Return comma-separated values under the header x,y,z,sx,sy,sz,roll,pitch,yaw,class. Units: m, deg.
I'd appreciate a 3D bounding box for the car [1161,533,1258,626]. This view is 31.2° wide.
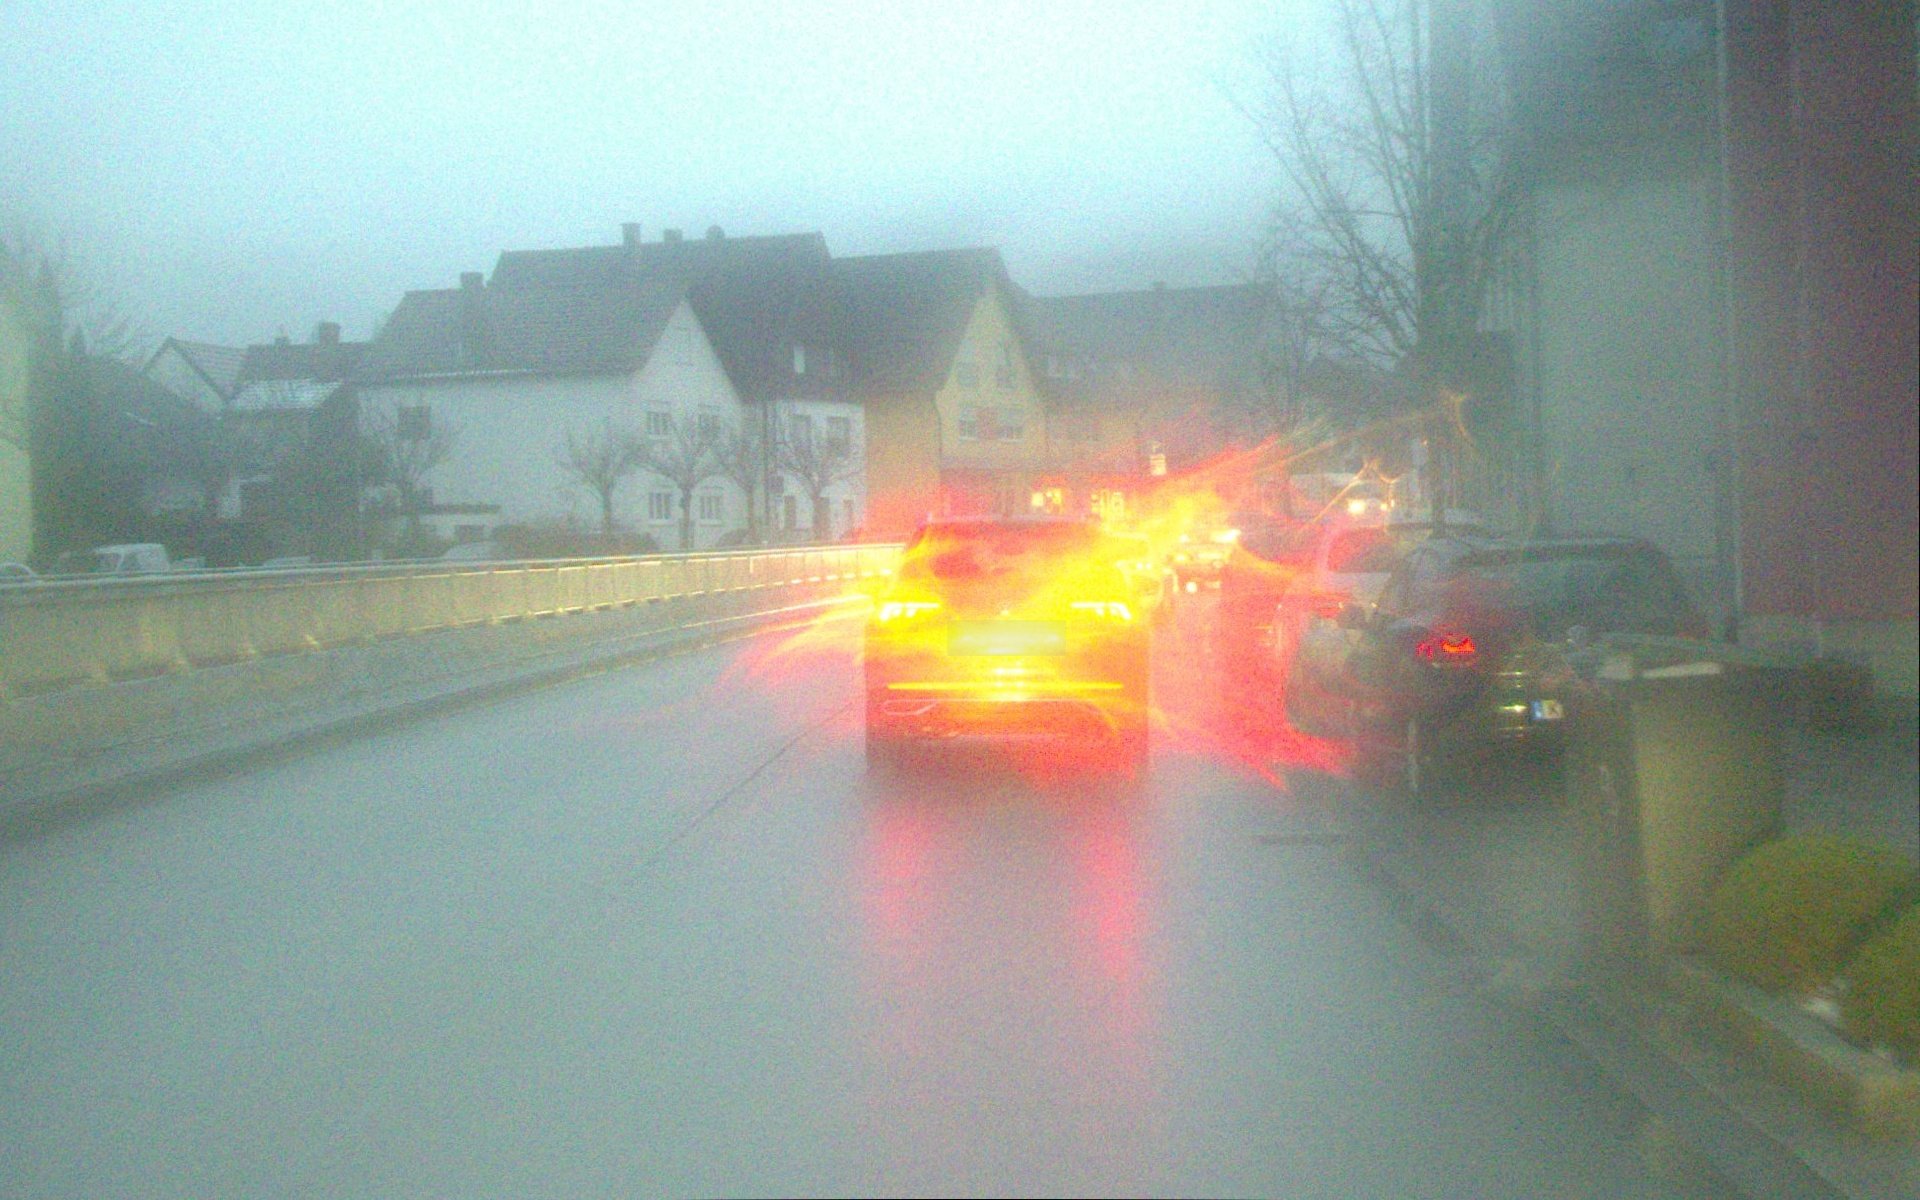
x,y,z,sx,sy,sz,roll,pitch,yaw,class
5.650,-0.452,77.462,1.994,2.007,3.999,-1,0,6,car

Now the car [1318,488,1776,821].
x,y,z,sx,sy,sz,roll,pitch,yaw,class
3.215,0.248,19.615,1.993,1.664,4.000,-1,1,2,car

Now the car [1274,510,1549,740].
x,y,z,sx,sy,sz,roll,pitch,yaw,class
3.573,0.151,27.493,1.994,1.664,3.999,-1,1,7,car

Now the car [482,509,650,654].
x,y,z,sx,sy,sz,roll,pitch,yaw,class
-5.739,-0.273,50.484,1.993,2.007,4.000,-1,0,0,car

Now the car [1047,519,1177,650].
x,y,z,sx,sy,sz,roll,pitch,yaw,class
2.497,-0.253,55.654,1.994,2.007,3.999,-1,0,4,car

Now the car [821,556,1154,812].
x,y,z,sx,sy,sz,roll,pitch,yaw,class
0.199,0.488,22.963,1.993,1.520,4.000,-1,1,1,car

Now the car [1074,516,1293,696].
x,y,z,sx,sy,sz,roll,pitch,yaw,class
2.142,0.017,33.947,1.993,1.673,4.000,0,1,1,car
